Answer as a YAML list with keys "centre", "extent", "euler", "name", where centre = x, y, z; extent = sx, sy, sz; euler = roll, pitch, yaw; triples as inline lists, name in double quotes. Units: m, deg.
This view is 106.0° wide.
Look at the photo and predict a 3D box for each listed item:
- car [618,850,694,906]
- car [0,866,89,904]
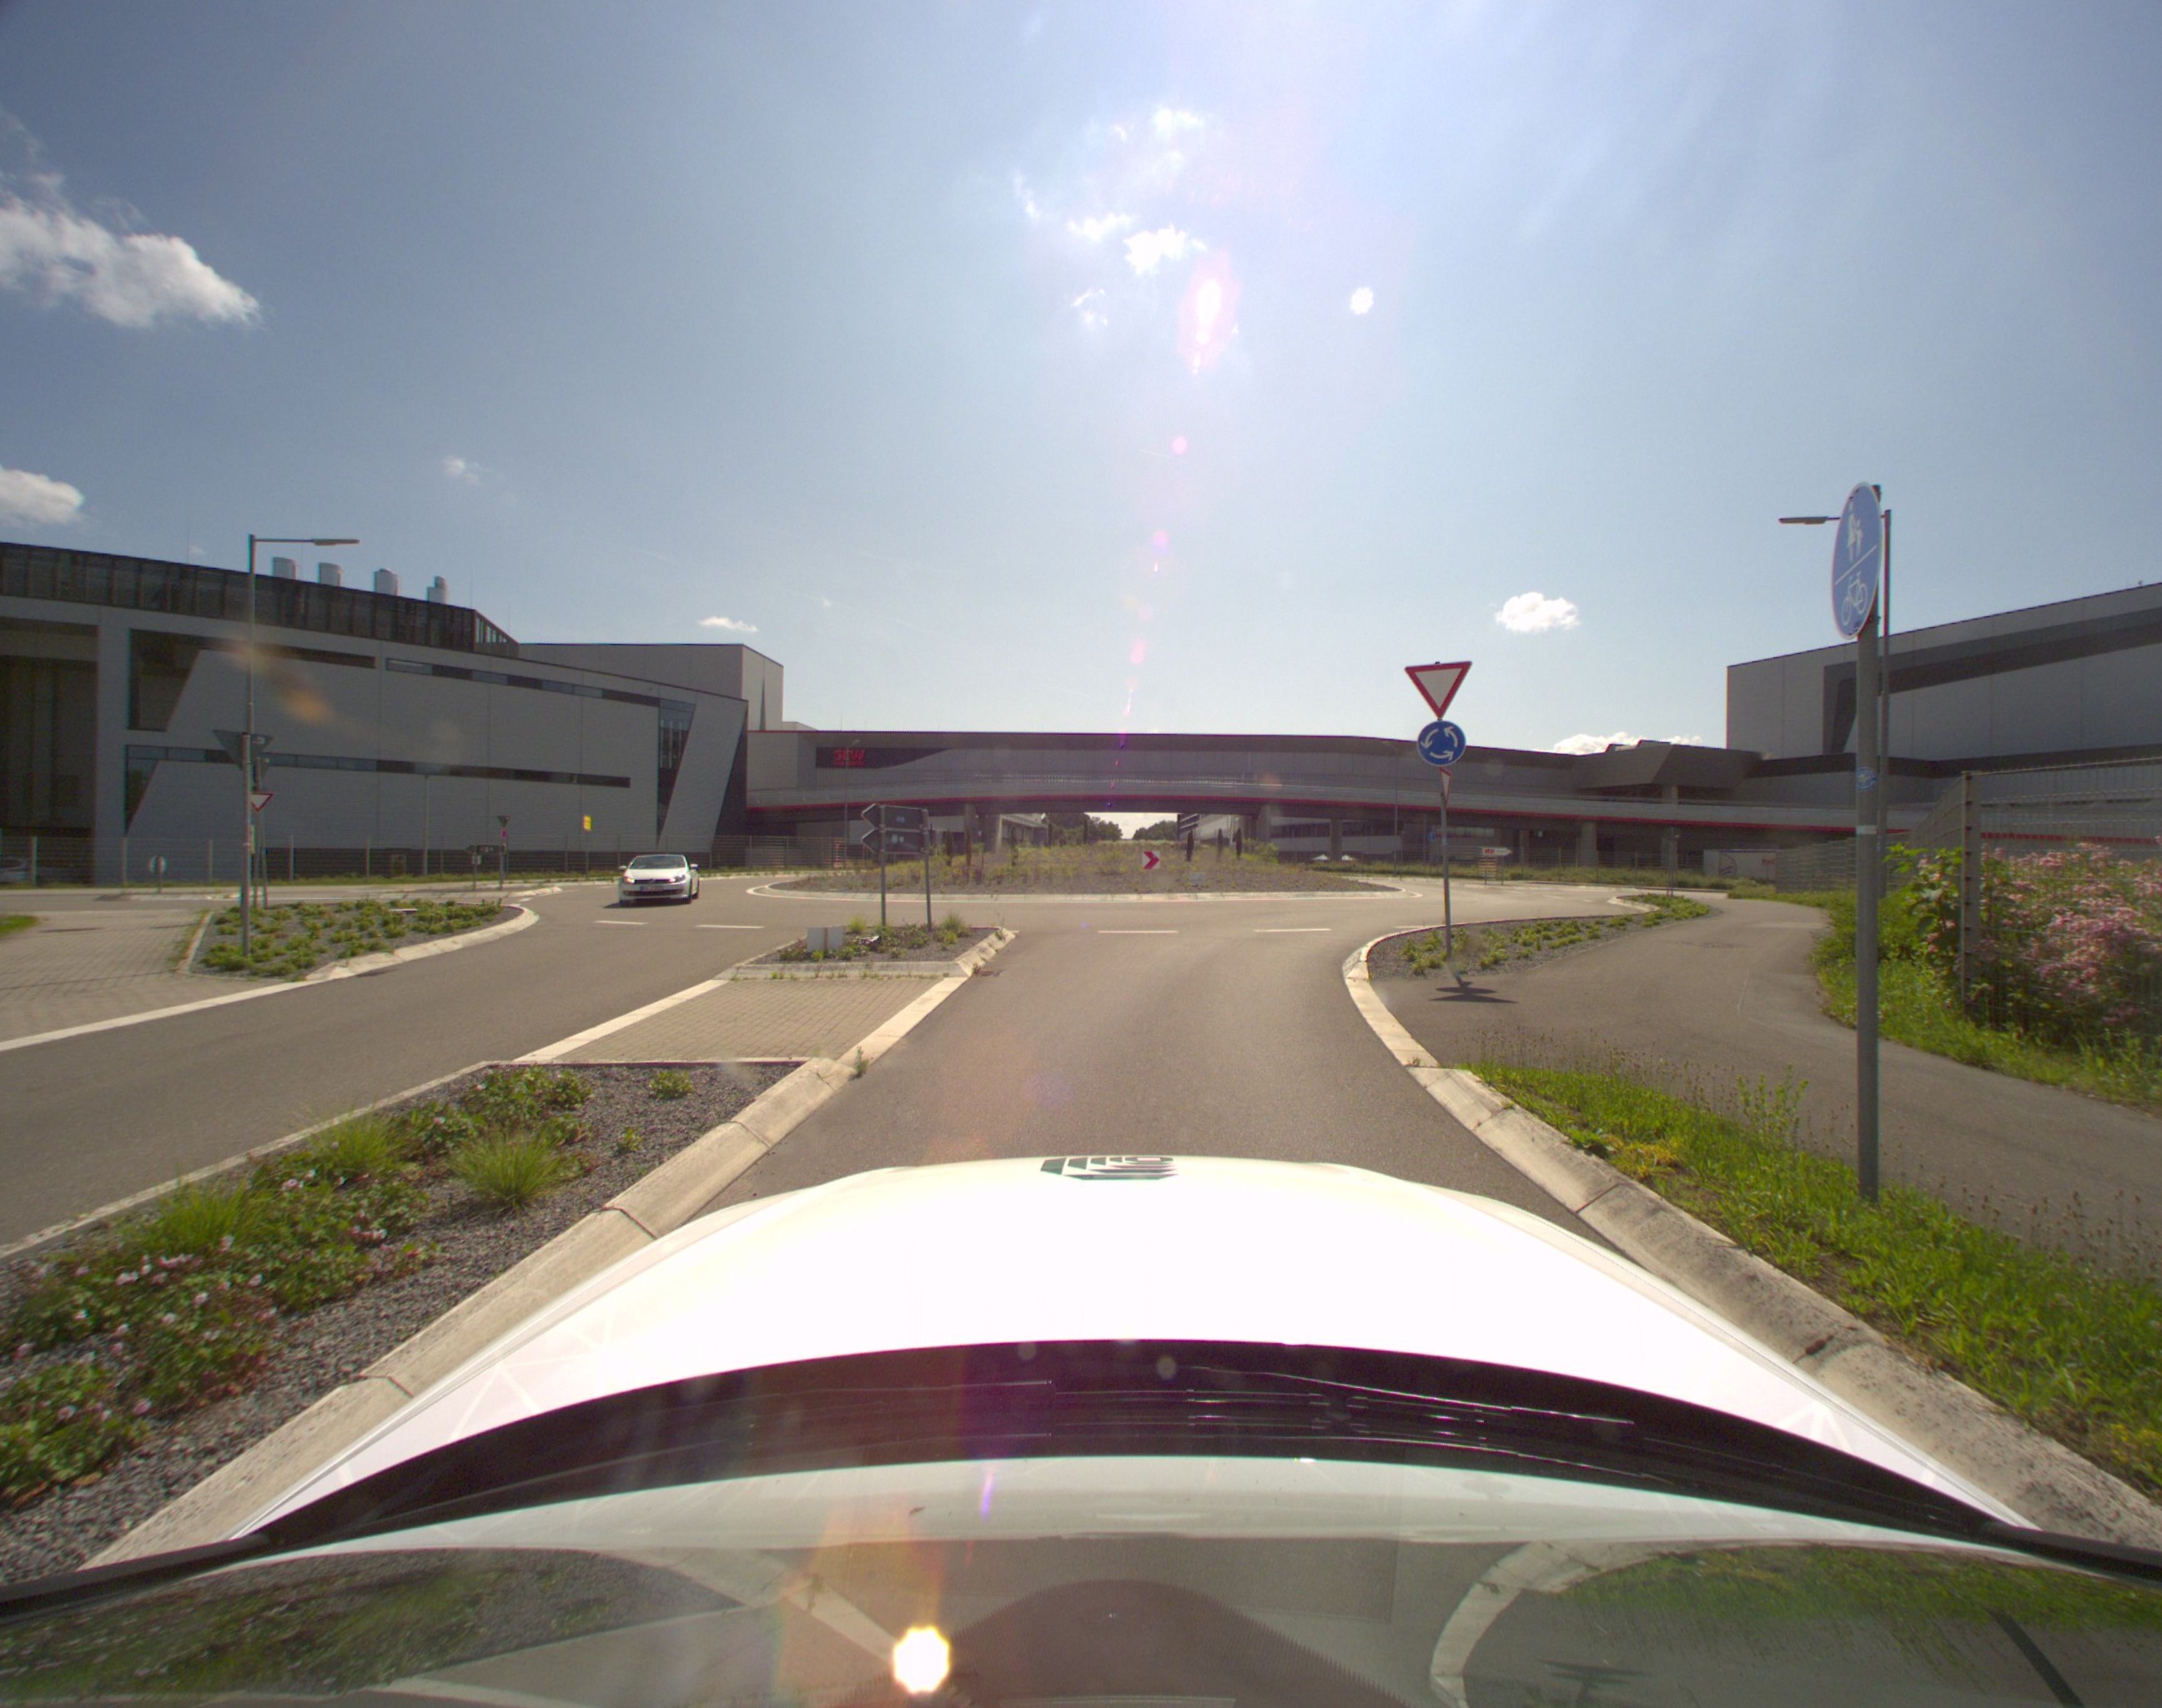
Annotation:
- centre: [-12.167, 0.632, 23.203]
  extent: [1.781, 1.428, 4.013]
  euler: [0, 0, -29]
  name: "car"
- centre: [-52.446, 1.529, 40.598]
  extent: [2.002, 1.690, 4.281]
  euler: [1, 0, -23]
  name: "car"
